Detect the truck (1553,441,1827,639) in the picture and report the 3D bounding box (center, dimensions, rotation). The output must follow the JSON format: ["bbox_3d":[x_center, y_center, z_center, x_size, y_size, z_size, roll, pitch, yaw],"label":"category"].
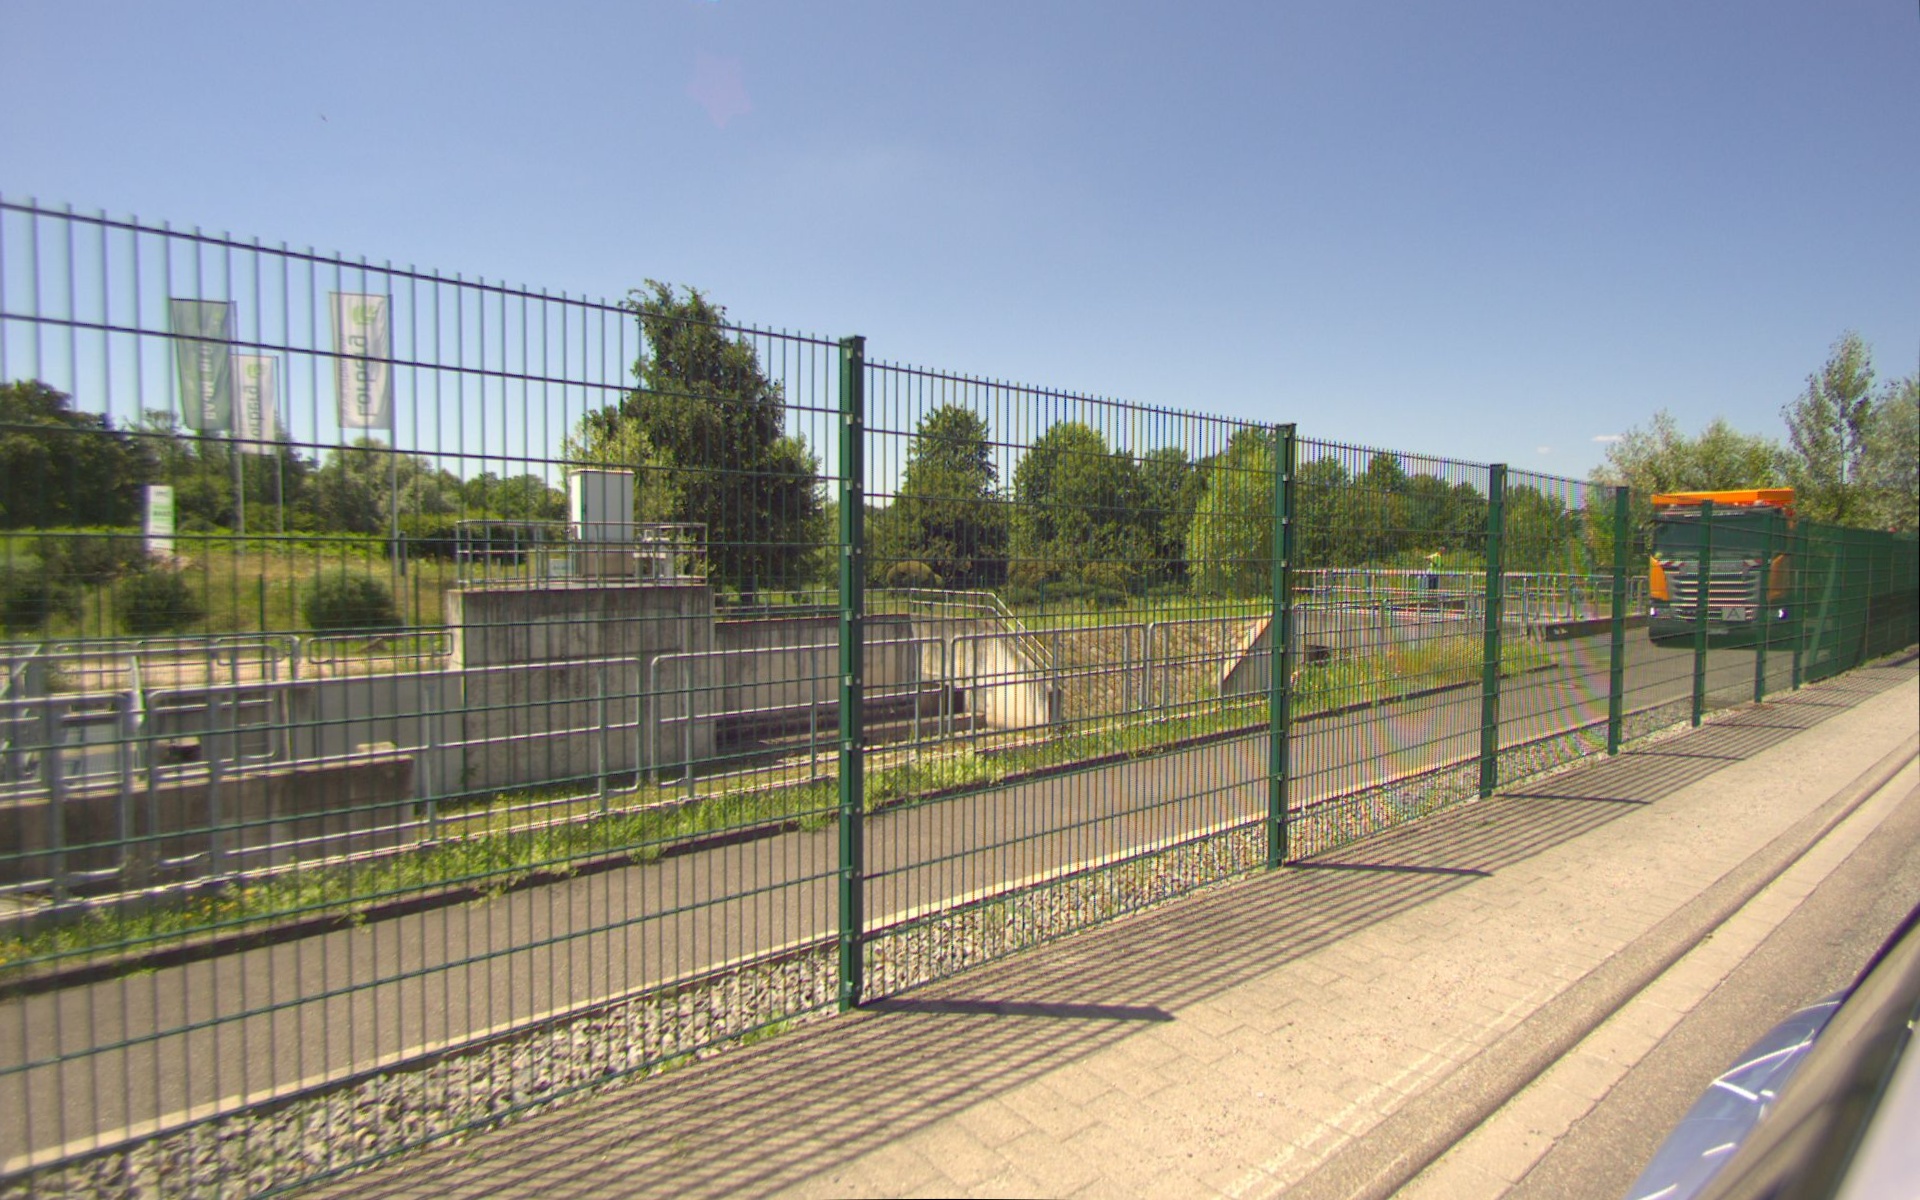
[{"bbox_3d":[17.704,-1.428,24.242,4.152,3.852,8.479,3,4,43],"label":"truck"}]
